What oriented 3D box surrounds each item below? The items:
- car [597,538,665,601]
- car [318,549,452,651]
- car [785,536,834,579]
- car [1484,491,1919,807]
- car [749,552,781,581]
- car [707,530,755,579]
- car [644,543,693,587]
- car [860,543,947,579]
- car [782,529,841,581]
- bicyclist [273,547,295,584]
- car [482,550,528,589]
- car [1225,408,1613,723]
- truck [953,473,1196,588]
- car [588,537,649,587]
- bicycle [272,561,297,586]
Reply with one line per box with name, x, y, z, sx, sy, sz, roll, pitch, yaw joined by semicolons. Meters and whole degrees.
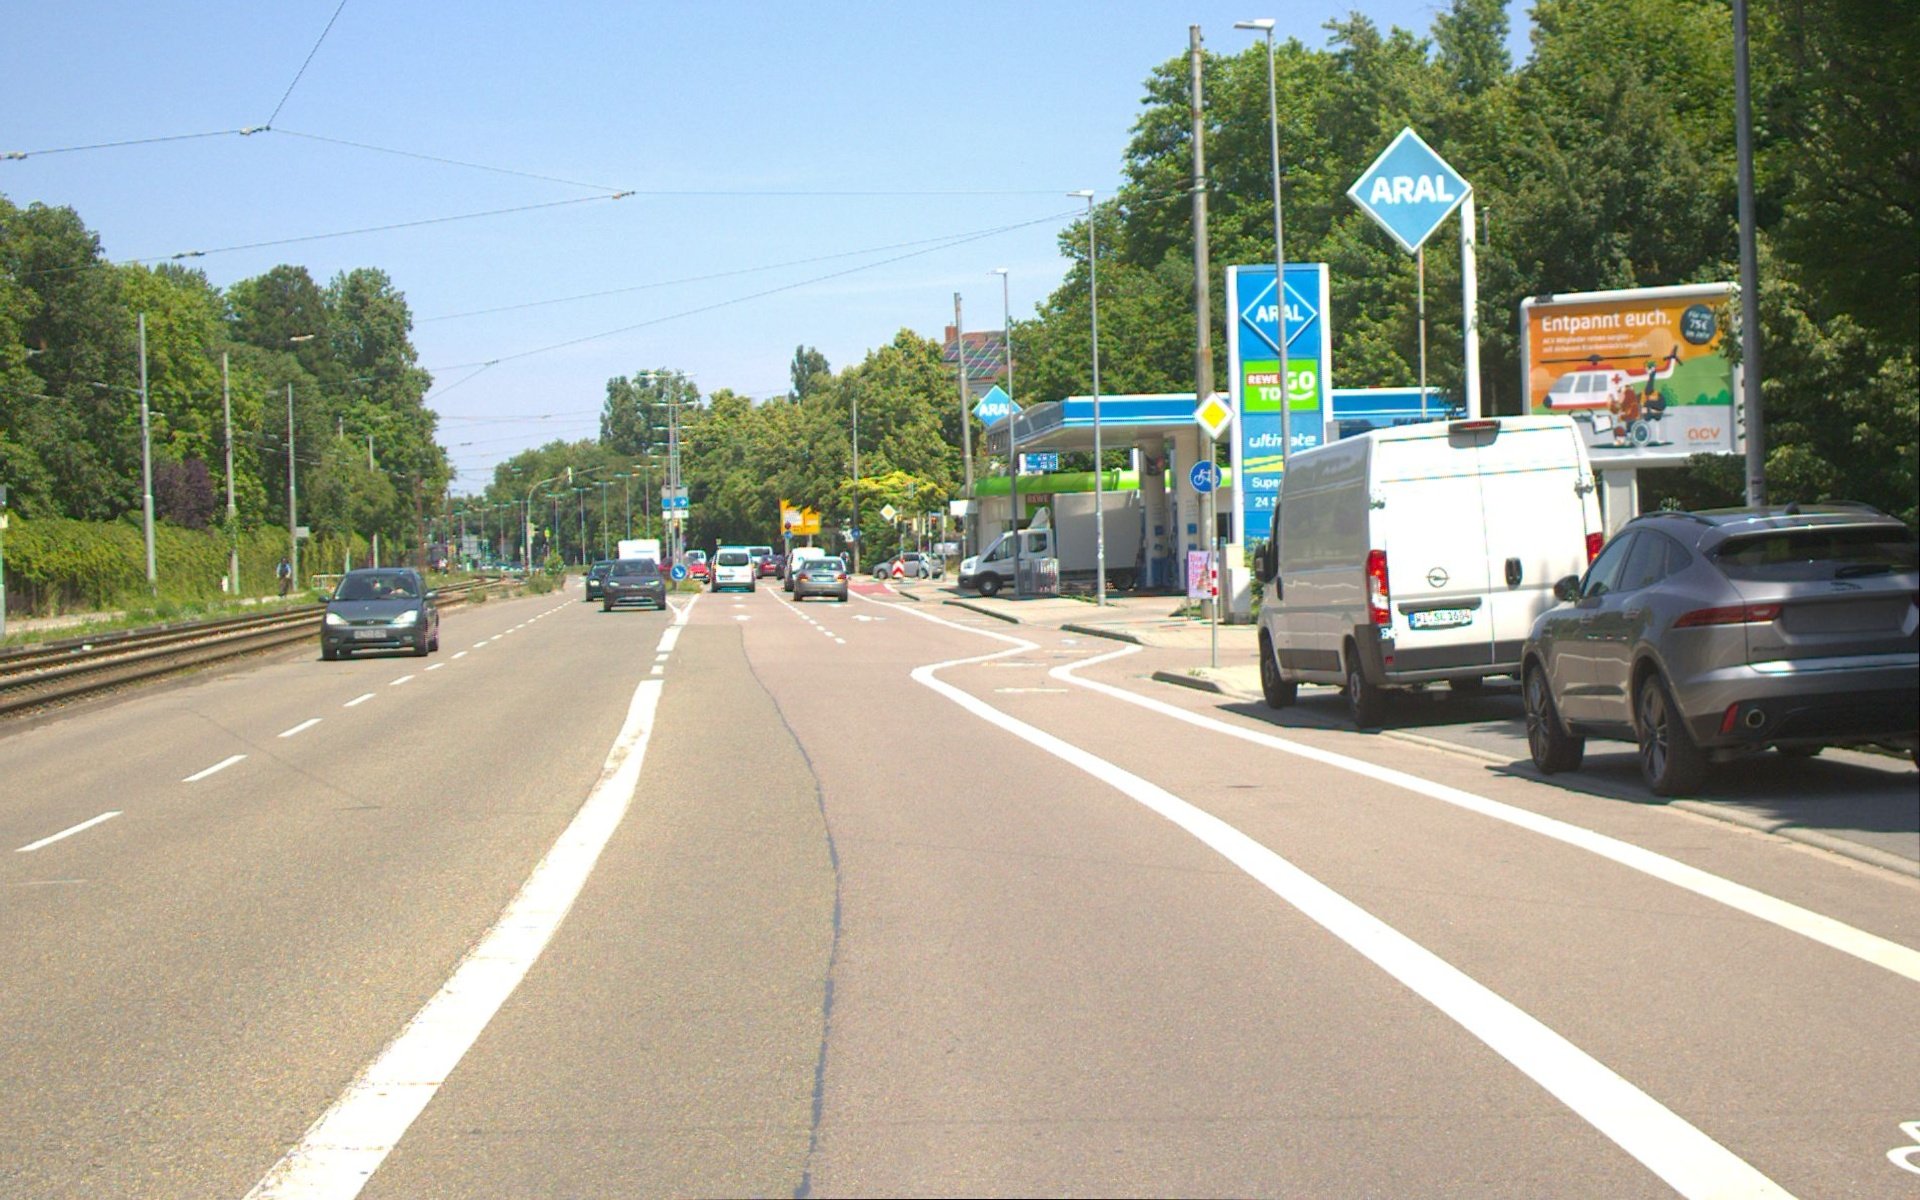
car;-9.362;-0.896;98.061;1.755;1.625;4.325;-4;1;-5
car;-9.598;-0.030;57.648;1.755;1.504;4.325;-4;1;-5
car;-6.216;-1.773;141.975;1.755;1.625;4.325;-4;1;-5
car;4.620;0.223;21.007;1.755;1.625;4.325;-4;1;-5
car;-11.904;-2.059;209.899;1.755;1.625;4.325;-4;1;-5
car;-9.400;-1.889;140.770;1.755;1.868;4.325;-4;1;-5
car;-11.715;-1.418;138.374;1.755;1.625;4.324;-4;1;-3
car;-3.082;-2.134;187.862;4.313;1.625;1.760;-4;1;16
car;-5.080;-1.552;117.118;1.755;1.625;4.325;-4;1;-5
bicyclist;-30.118;-1.540;153.116;0.681;1.569;0.795;-6;0;-2
car;-20.249;-1.363;152.873;1.755;1.625;4.325;-4;1;-10
car;4.001;-0.339;31.201;2.001;2.448;6.111;-4;1;-6
truck;3.847;-2.327;115.369;7.968;3.590;2.663;-2;1;2
car;-12.225;-1.371;123.031;1.755;1.625;4.325;-4;1;-10
bicycle;-30.087;-1.181;153.110;0.681;1.050;2.009;-6;0;-3
